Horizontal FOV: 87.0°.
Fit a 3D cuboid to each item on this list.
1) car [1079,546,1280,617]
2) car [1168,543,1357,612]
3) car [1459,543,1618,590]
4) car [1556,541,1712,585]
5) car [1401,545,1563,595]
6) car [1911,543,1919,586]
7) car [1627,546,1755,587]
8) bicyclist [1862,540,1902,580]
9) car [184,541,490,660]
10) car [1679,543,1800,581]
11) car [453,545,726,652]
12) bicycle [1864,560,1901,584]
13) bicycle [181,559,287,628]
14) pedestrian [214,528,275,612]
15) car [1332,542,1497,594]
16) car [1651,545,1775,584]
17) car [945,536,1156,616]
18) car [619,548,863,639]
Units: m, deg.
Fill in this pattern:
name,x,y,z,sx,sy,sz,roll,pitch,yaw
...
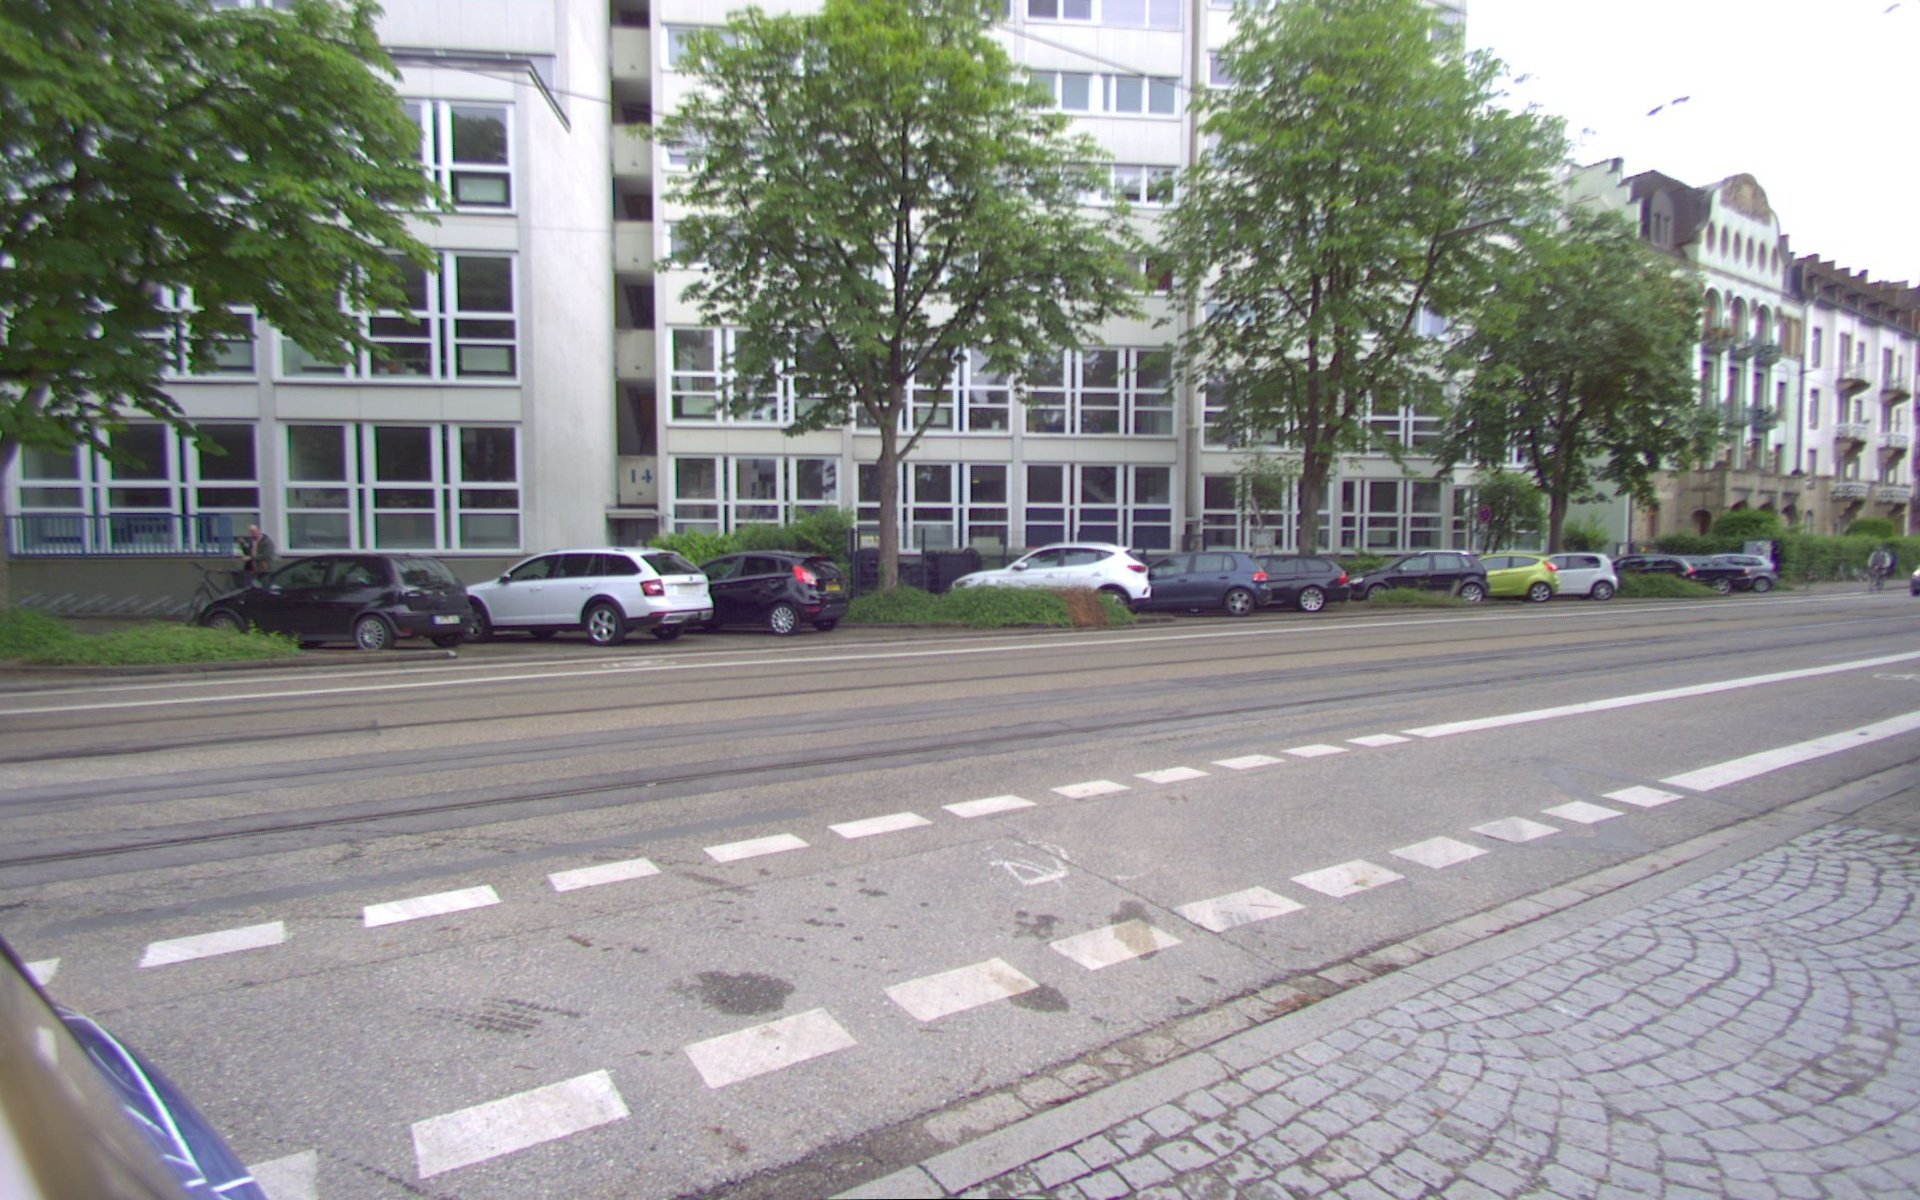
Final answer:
name,x,y,z,sx,sy,sz,roll,pitch,yaw
car,4.948,-0.474,23.079,4.303,1.464,1.693,1,4,13
car,7.367,-0.601,25.027,4.303,1.546,1.693,1,4,13
car,18.036,-1.066,31.713,3.928,1.361,1.693,1,4,13
car,22.574,-1.271,34.036,3.928,1.361,1.693,1,4,13
car,15.473,-0.926,30.200,3.928,1.361,1.693,1,4,13
car,34.136,-1.238,34.436,3.934,1.439,1.751,-2,3,-34
car,26.899,-1.268,37.404,3.710,1.396,1.681,3,5,34
bicyclist,35.054,-1.531,38.471,1.010,1.511,0.848,-2,3,-31
car,-8.988,-0.068,14.703,3.670,1.535,1.693,1,4,14
car,31.483,-1.562,41.021,3.710,1.396,1.681,3,5,34
car,-5.949,-0.099,16.310,3.999,1.495,1.689,2,4,20
bicycle,35.172,-1.089,38.586,2.102,0.875,0.472,-2,3,-32
bicycle,-13.954,-0.133,19.481,1.568,1.277,0.407,-2,3,-23
pedestrian,-14.185,-0.602,20.074,0.743,1.623,0.736,1,4,-11
car,12.693,-0.936,28.502,3.928,1.361,1.693,1,4,13
car,29.099,-1.409,39.248,3.710,1.396,1.681,3,5,34
car,1.934,-0.553,21.584,4.297,1.567,1.696,1,4,9
car,-3.892,-0.188,18.039,3.999,1.416,1.689,2,4,20
